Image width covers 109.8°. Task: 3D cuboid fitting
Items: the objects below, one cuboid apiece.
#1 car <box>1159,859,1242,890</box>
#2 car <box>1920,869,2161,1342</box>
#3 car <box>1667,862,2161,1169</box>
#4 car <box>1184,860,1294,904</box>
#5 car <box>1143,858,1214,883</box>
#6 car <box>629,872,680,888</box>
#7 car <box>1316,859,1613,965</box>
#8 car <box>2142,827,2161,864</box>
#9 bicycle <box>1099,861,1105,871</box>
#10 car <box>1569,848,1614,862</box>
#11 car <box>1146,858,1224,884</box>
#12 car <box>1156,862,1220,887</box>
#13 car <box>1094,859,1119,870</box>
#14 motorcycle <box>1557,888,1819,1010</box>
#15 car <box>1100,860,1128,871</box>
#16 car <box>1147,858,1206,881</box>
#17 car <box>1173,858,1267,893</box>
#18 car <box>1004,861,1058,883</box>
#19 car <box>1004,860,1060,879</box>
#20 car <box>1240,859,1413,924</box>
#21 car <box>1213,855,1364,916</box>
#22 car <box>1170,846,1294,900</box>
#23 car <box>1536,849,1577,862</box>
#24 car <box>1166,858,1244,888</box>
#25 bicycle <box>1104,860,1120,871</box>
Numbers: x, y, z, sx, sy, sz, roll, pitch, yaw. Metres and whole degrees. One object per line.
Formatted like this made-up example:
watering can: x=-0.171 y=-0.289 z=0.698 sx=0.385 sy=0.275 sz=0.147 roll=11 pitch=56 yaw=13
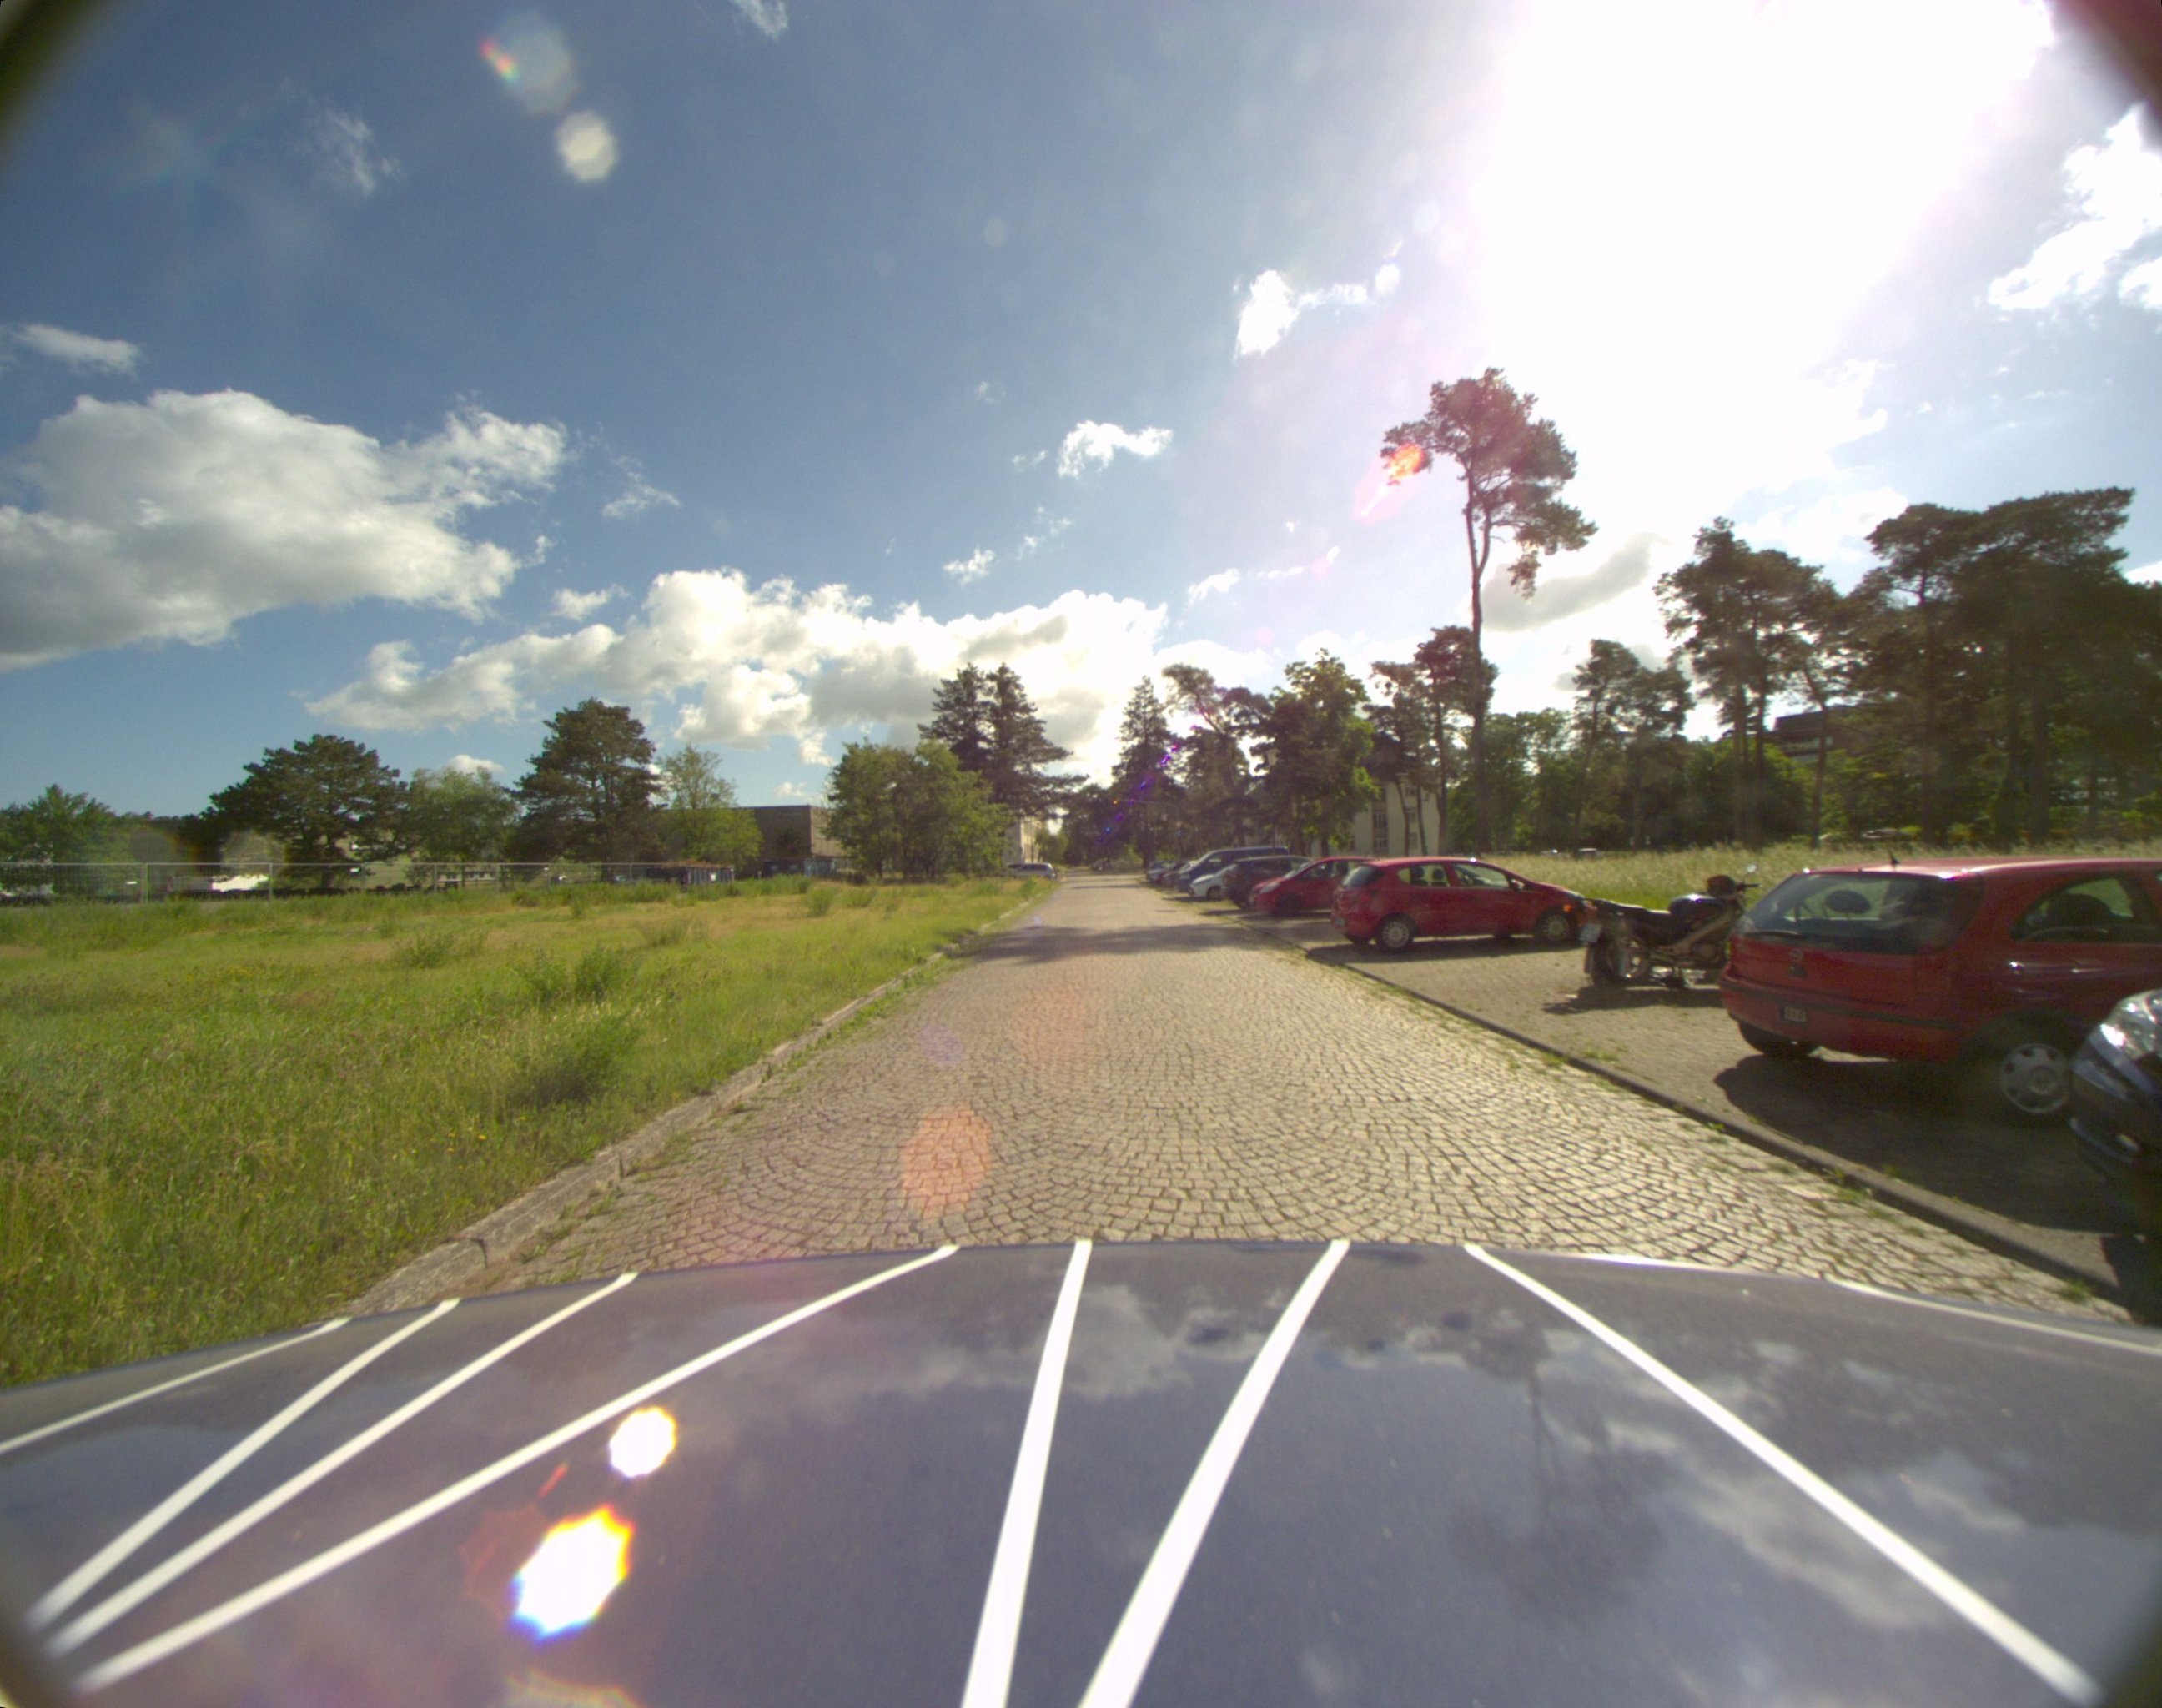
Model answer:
car: x=6.245 y=1.075 z=40.033 sx=4.086 sy=1.417 sz=1.923 roll=-3 pitch=0 yaw=2
car: x=5.712 y=0.795 z=2.309 sx=4.145 sy=1.570 sz=1.885 roll=-2 pitch=-1 yaw=1
car: x=6.341 y=0.819 z=4.695 sx=3.932 sy=1.424 sz=1.842 roll=-2 pitch=-1 yaw=2
car: x=6.030 y=1.053 z=29.254 sx=3.826 sy=1.431 sz=1.683 roll=-3 pitch=0 yaw=-2
car: x=6.756 y=1.138 z=52.957 sx=4.593 sy=1.443 sz=1.984 roll=-3 pitch=0 yaw=-2
car: x=-41.158 y=2.514 z=73.386 sx=3.997 sy=1.413 sz=1.746 roll=-1 pitch=-2 yaw=1
car: x=6.178 y=0.908 z=12.587 sx=3.933 sy=1.452 sz=1.842 roll=-3 pitch=-1 yaw=0
car: x=64.841 y=-0.518 z=43.663 sx=4.857 sy=2.151 sz=1.957 roll=-1 pitch=0 yaw=2
bicycle: x=2.765 y=1.602 z=101.094 sx=0.621 sy=1.342 sz=2.114 roll=-3 pitch=0 yaw=-3
car: x=59.942 y=0.096 z=89.305 sx=4.055 sy=1.620 sz=1.841 roll=-1 pitch=0 yaw=3
car: x=6.847 y=1.122 z=50.235 sx=4.876 sy=1.412 sz=1.938 roll=-3 pitch=1 yaw=1
car: x=6.383 y=1.217 z=45.588 sx=3.639 sy=1.227 sz=1.760 roll=-3 pitch=1 yaw=2
car: x=4.502 y=1.818 z=136.628 sx=4.226 sy=1.902 sz=1.817 roll=-1 pitch=0 yaw=-9
motorcycle: x=6.406 y=0.991 z=8.088 sx=2.247 sy=1.155 sz=0.577 roll=-2 pitch=0 yaw=2
car: x=5.187 y=1.812 z=119.260 sx=4.044 sy=1.514 sz=1.817 roll=-1 pitch=0 yaw=-7
car: x=6.962 y=1.101 z=55.575 sx=4.037 sy=1.474 sz=1.949 roll=-3 pitch=-1 yaw=-1
car: x=6.733 y=1.033 z=37.141 sx=4.206 sy=1.466 sz=1.824 roll=-3 pitch=0 yaw=1
car: x=-3.551 y=1.255 z=54.852 sx=3.750 sy=1.468 sz=1.752 roll=1 pitch=0 yaw=-1
car: x=-4.014 y=1.277 z=62.837 sx=4.525 sy=1.456 sz=1.838 roll=1 pitch=0 yaw=-2
car: x=6.408 y=0.952 z=20.179 sx=3.933 sy=1.440 sz=1.867 roll=-3 pitch=-1 yaw=0
car: x=6.161 y=0.918 z=22.916 sx=3.963 sy=1.558 sz=1.974 roll=-3 pitch=-1 yaw=0
car: x=6.238 y=0.771 z=31.825 sx=4.729 sy=1.956 sz=2.005 roll=-3 pitch=0 yaw=1
car: x=60.623 y=0.177 z=96.891 sx=4.105 sy=1.571 sz=1.720 roll=-1 pitch=0 yaw=3
car: x=6.942 y=1.073 z=42.907 sx=4.086 sy=1.443 sz=1.822 roll=-3 pitch=1 yaw=2
bicycle: x=4.260 y=1.635 z=104.415 sx=2.113 sy=1.276 sz=0.621 roll=-7 pitch=0 yaw=-2
